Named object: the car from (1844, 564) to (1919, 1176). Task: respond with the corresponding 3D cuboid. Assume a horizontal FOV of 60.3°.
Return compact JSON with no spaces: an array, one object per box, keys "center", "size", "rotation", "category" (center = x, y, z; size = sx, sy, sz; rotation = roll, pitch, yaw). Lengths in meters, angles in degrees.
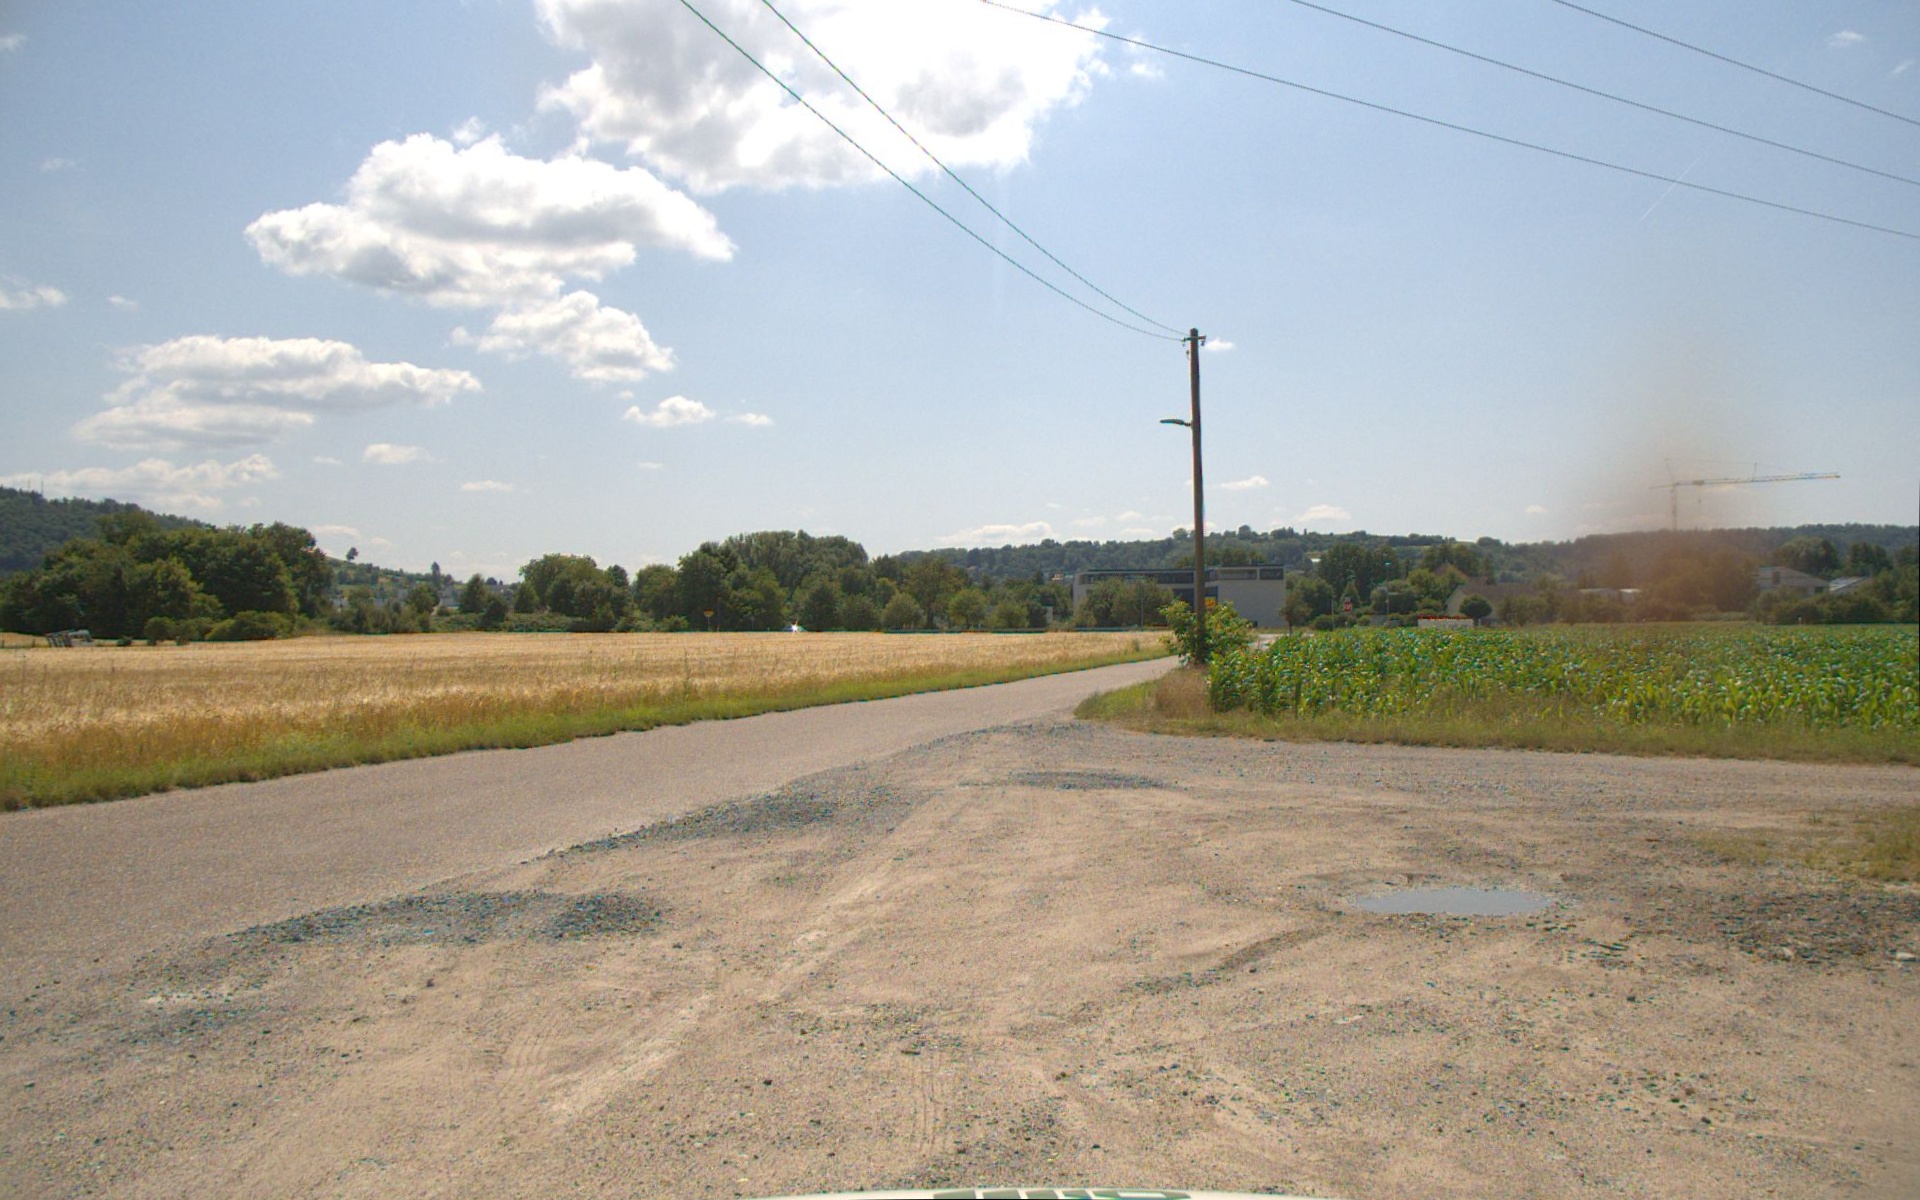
[{"center":[3.460,0.697,2.713],"size":[1.819,1.690,4.460],"rotation":[0,-2,3],"category":"car"}]
